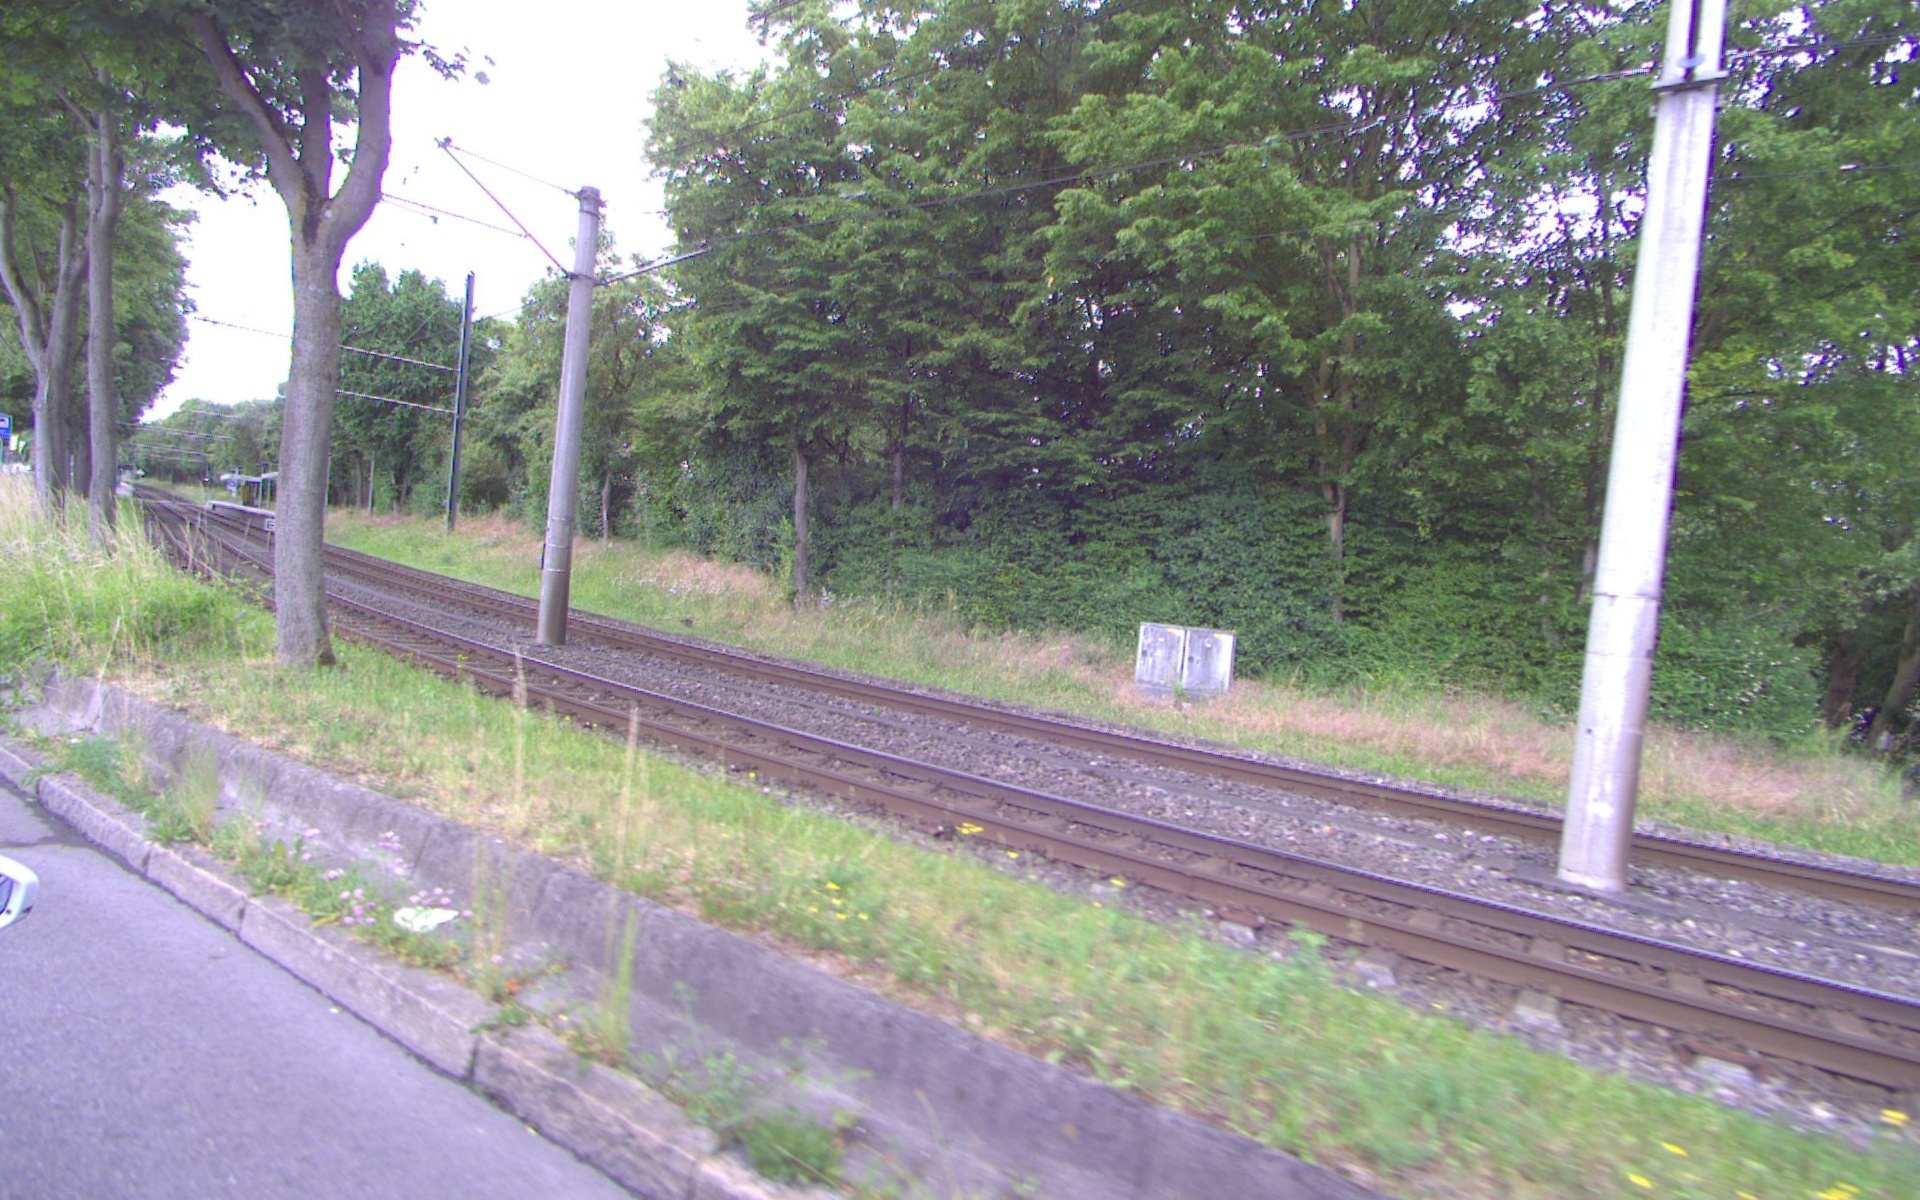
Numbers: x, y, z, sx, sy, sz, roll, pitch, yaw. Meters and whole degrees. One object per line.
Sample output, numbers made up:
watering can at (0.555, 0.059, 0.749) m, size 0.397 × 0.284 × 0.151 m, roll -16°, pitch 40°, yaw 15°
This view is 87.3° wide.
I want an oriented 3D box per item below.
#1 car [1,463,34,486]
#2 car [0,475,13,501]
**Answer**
car at (-84.336, -11.209, 90.072) m, size 1.883 × 1.674 × 3.954 m, roll 6°, pitch 1°, yaw -41°
car at (-56.622, -6.647, 58.565) m, size 1.883 × 1.463 × 3.763 m, roll 6°, pitch 1°, yaw -41°
